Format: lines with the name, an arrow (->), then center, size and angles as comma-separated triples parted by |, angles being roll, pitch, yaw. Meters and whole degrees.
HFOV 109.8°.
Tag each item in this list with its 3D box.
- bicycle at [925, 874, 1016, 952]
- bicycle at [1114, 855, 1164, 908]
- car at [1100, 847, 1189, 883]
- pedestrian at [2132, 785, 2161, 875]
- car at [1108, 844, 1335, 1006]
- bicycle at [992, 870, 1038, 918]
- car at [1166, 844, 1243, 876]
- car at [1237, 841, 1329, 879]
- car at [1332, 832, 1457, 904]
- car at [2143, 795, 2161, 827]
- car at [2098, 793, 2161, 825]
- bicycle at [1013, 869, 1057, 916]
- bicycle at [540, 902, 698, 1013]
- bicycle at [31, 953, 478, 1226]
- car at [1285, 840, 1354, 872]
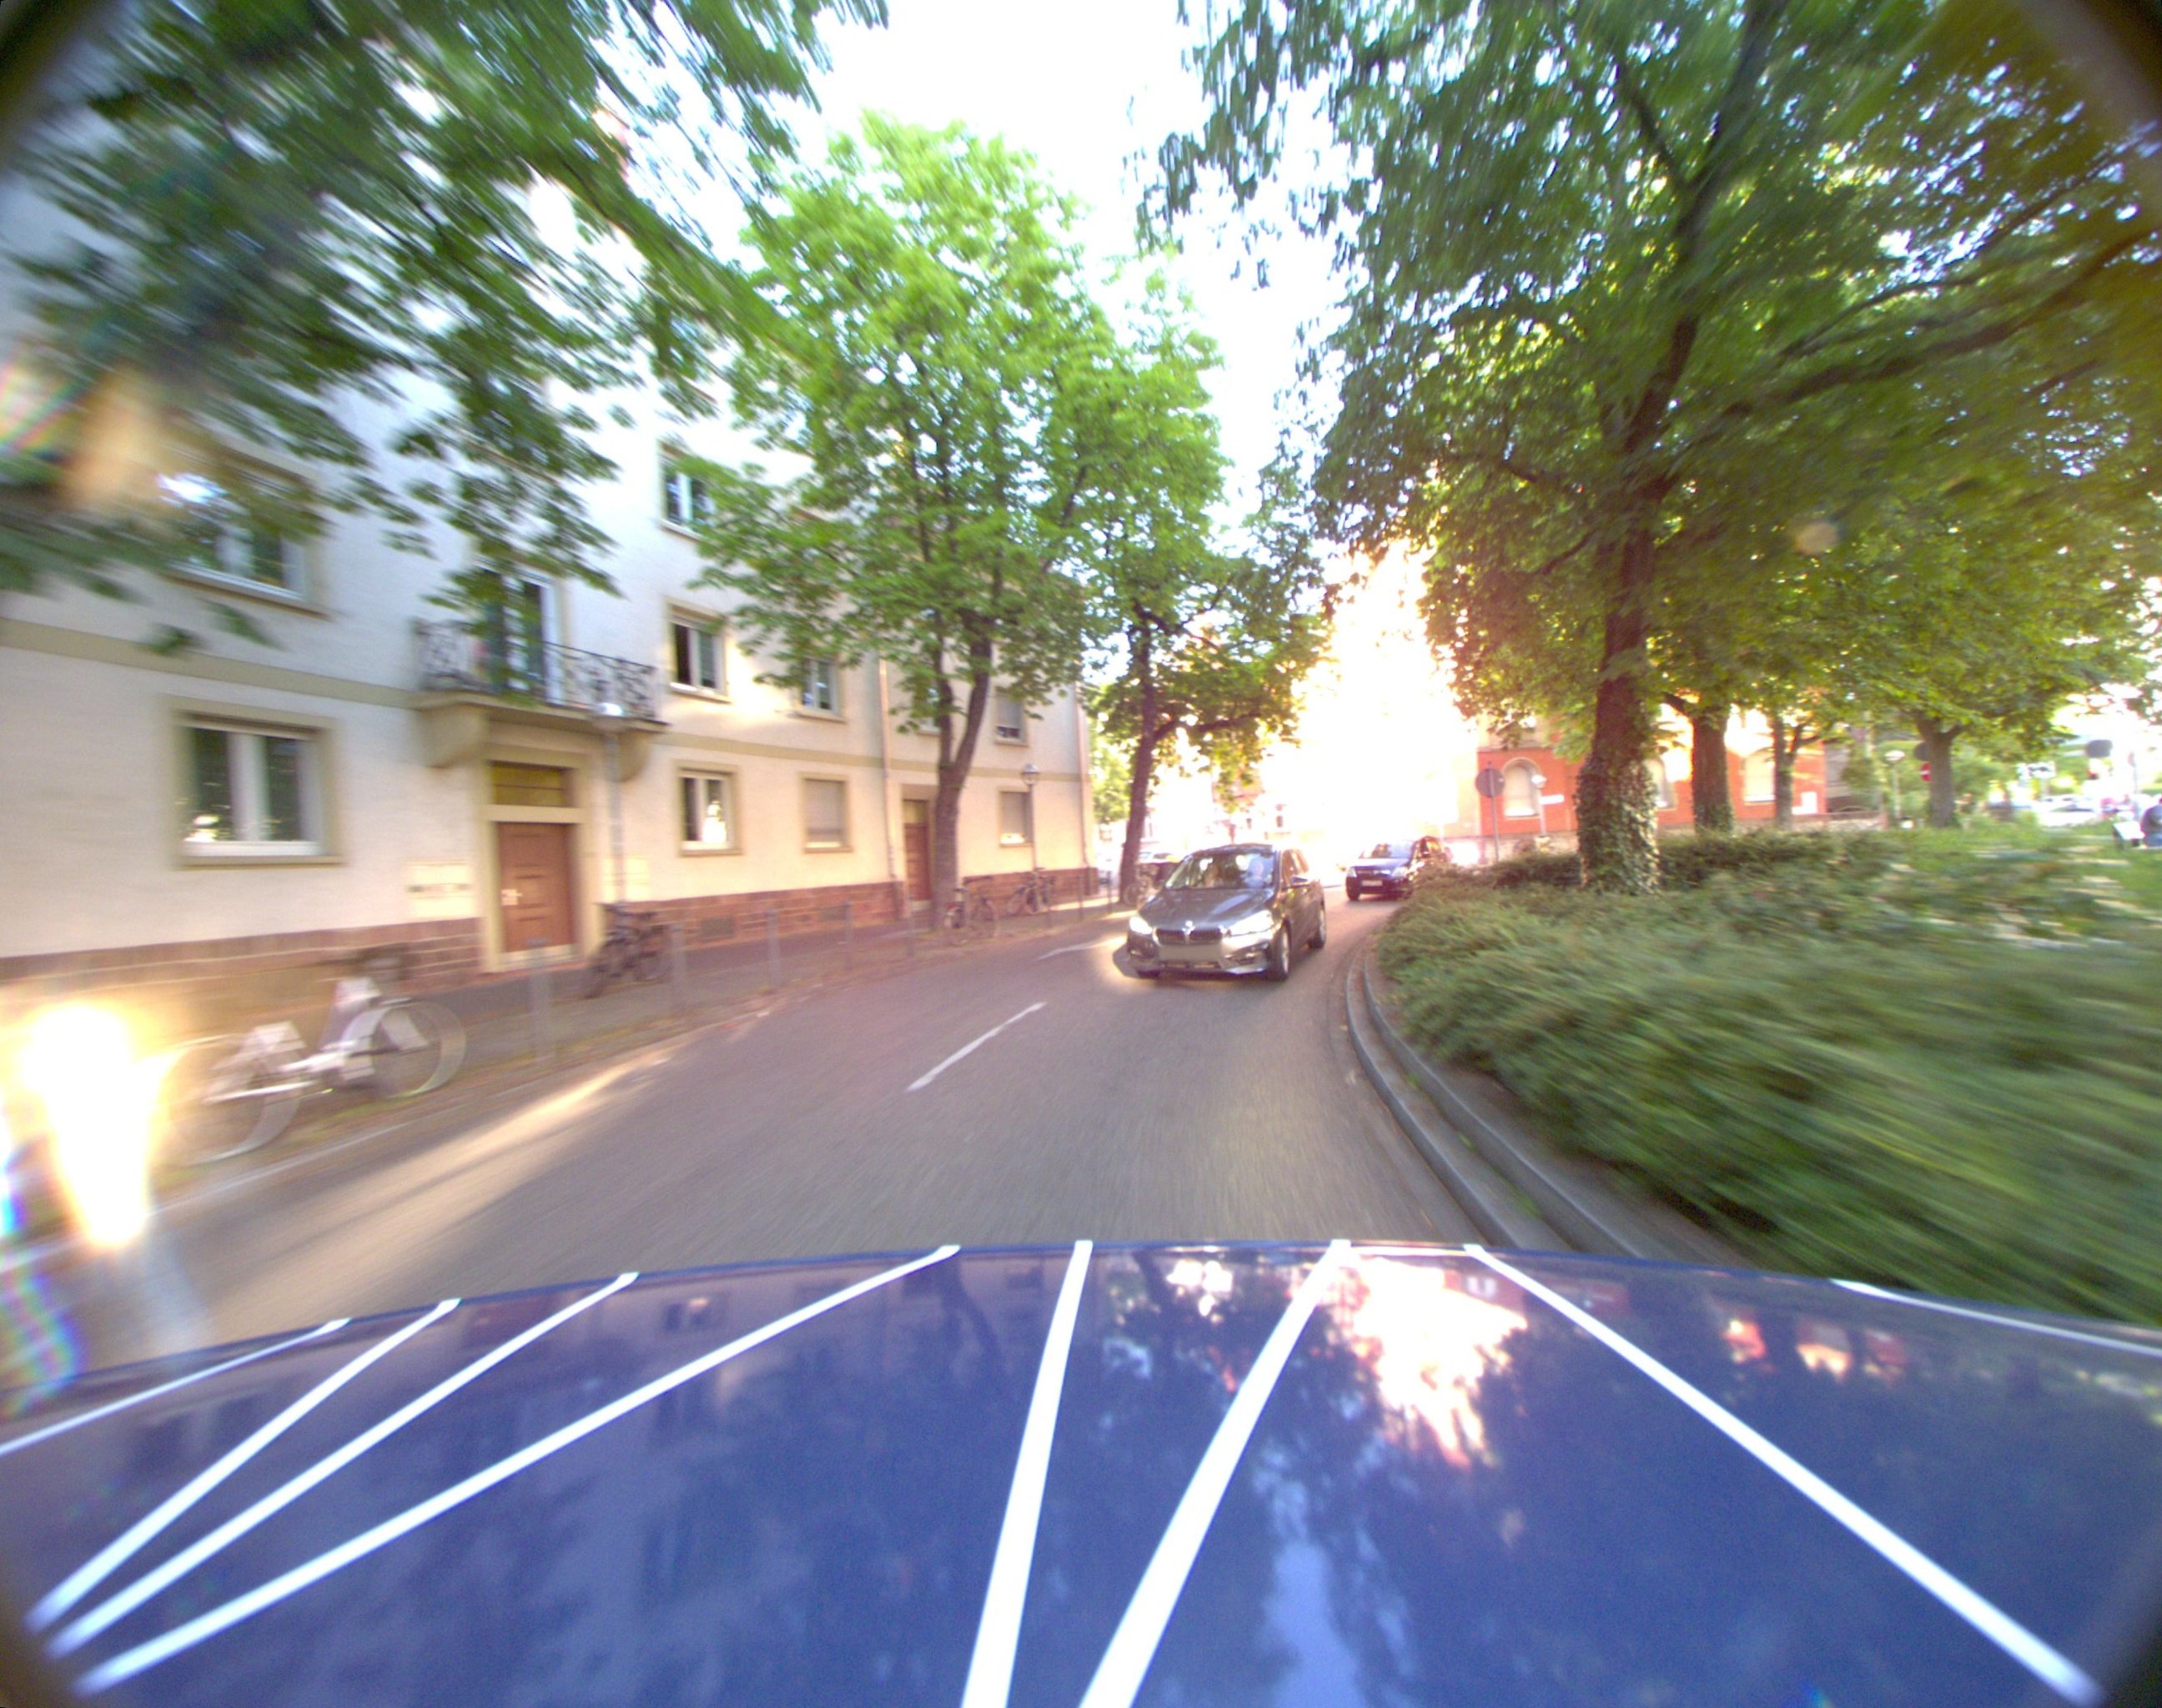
bicycle -> -1.955, 1.028, 13.742 | 0.718, 1.216, 1.917 | -3, 0, 21
bicycle -> 1.627, 0.730, 20.847 | 0.766, 1.297, 1.905 | -3, 0, 22
car -> 2.978, 0.495, 35.417 | 3.809, 1.417, 1.672 | -4, 0, -31
pedestrian -> 17.727, -0.409, 12.316 | 0.601, 1.435, 0.709 | -5, 1, -43
car -> 2.076, 0.731, 9.996 | 1.790, 1.569, 4.267 | -3, 1, 26
bicycle -> -1.648, 0.991, 19.224 | 0.334, 1.087, 1.639 | -4, 0, 24
car -> 6.512, 0.346, 40.472 | 1.808, 1.543, 4.177 | -3, 0, -28
car -> 9.193, 0.304, 34.825 | 1.699, 1.543, 4.044 | -3, 0, -28
car -> 8.119, 0.320, 19.506 | 1.676, 1.619, 3.694 | -3, 0, 43
car -> 50.801, -2.054, 34.978 | 4.007, 1.409, 1.732 | -4, 0, -42
car -> 56.611, -2.431, 40.822 | 1.732, 1.409, 4.006 | -4, 2, 44
bicycle -> -1.154, 0.974, 19.490 | 0.334, 1.087, 1.639 | -4, 0, 24
bicycle -> -5.813, 1.258, 9.718 | 0.802, 1.112, 1.858 | -4, 0, 0
bicycle -> -4.913, 1.310, 4.782 | 0.514, 1.089, 1.974 | -2, 1, 4
car -> 12.307, 0.106, 39.326 | 1.494, 1.531, 3.209 | -3, 0, -29
